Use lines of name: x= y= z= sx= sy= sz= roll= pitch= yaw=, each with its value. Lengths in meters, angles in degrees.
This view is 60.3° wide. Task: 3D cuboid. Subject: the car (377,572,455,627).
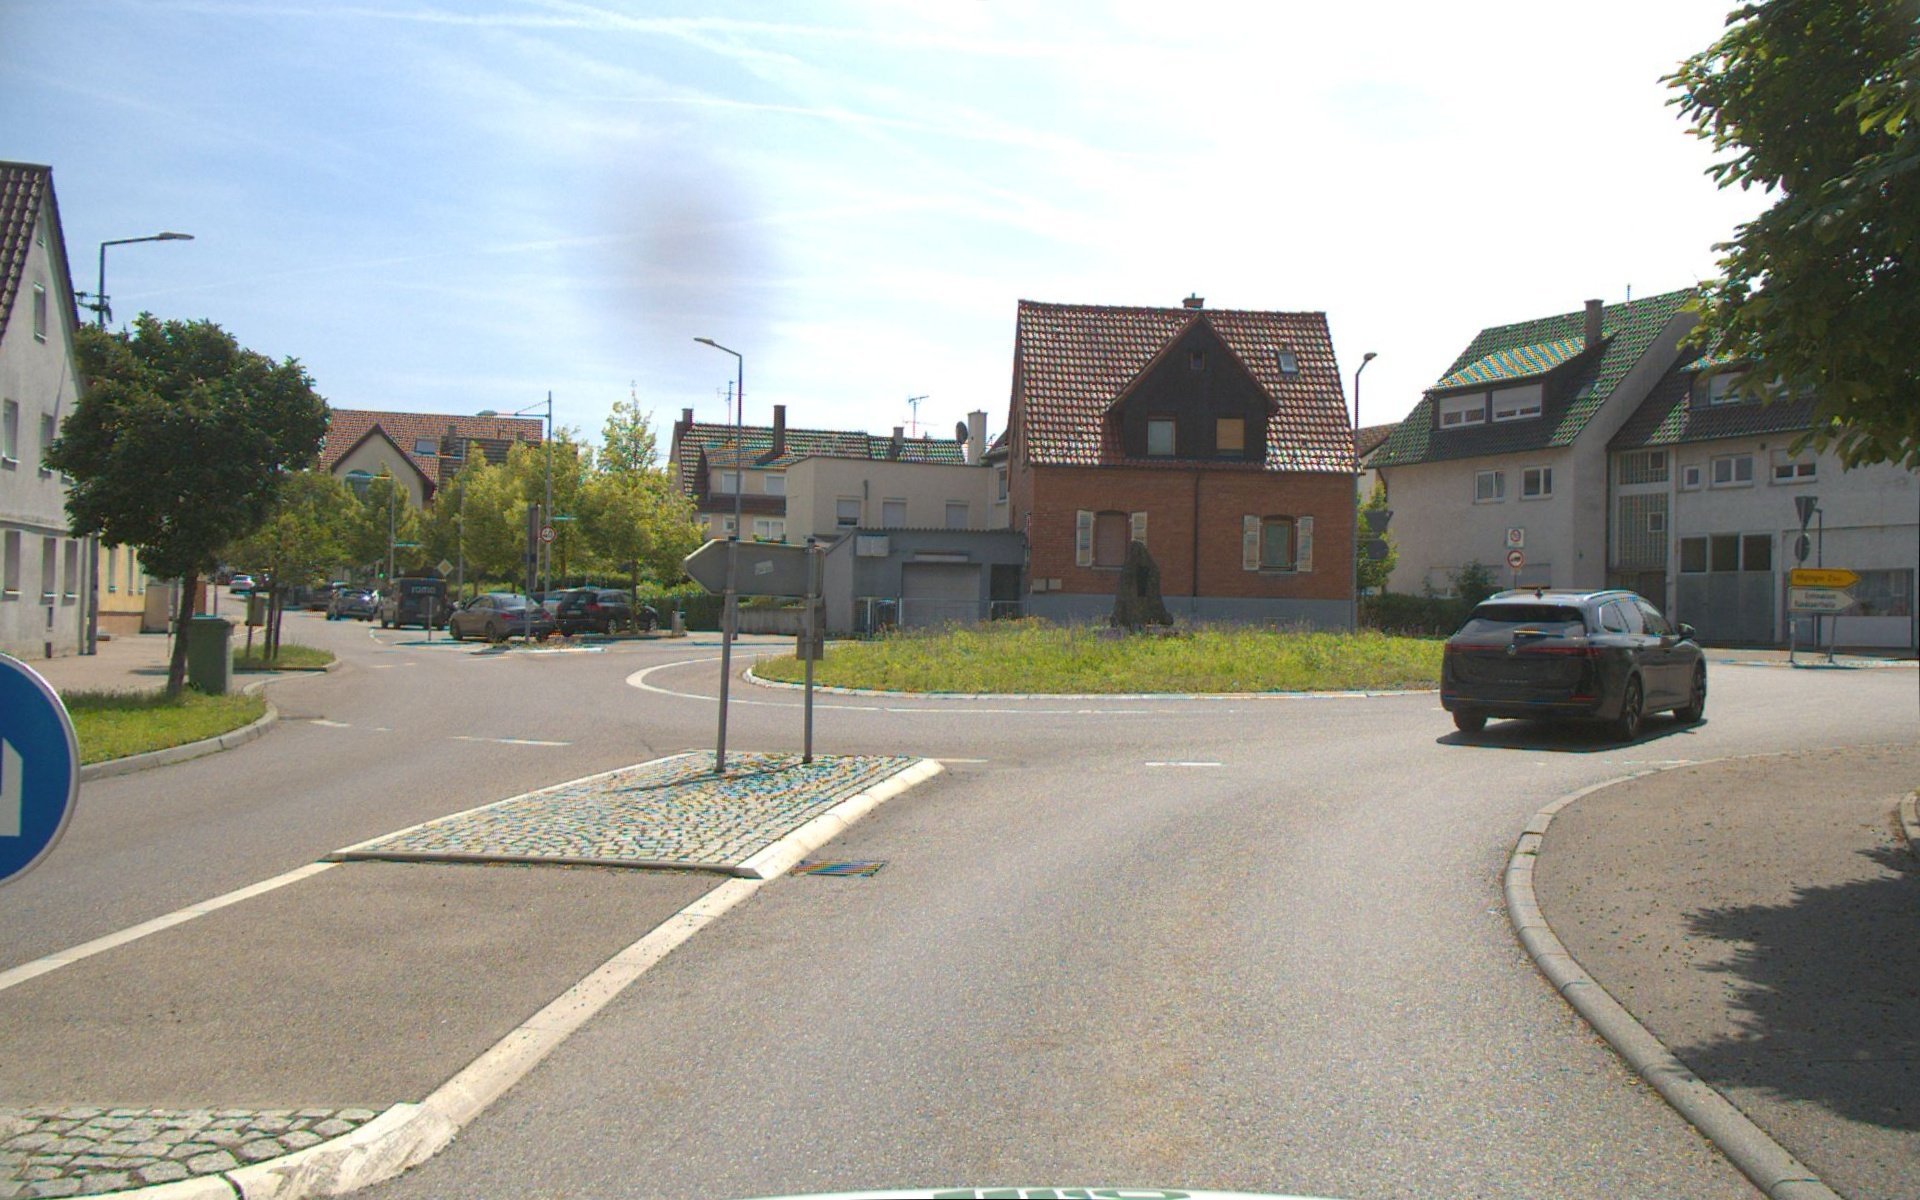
car: x=-21.074 y=-0.016 z=63.988 sx=2.089 sy=2.049 sz=3.959 roll=1 pitch=0 yaw=-30

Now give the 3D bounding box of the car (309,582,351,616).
car: x=-39.064 y=-0.083 z=102.530 sx=2.085 sy=2.049 sz=3.966 roll=1 pitch=0 yaw=-26

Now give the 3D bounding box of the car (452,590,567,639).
car: x=-13.580 y=0.421 z=49.713 sx=1.859 sy=1.415 sz=4.157 roll=1 pitch=0 yaw=-38

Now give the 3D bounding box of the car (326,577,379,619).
car: x=-30.377 y=-0.092 z=82.688 sx=2.085 sy=2.049 sz=3.966 roll=1 pitch=0 yaw=-26

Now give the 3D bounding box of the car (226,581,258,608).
car: x=-56.366 y=-0.440 z=129.802 sx=2.085 sy=2.049 sz=3.966 roll=1 pitch=0 yaw=-26

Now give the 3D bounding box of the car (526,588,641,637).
car: x=-13.117 y=0.438 z=57.880 sx=1.776 sy=1.646 sz=3.995 roll=1 pitch=0 yaw=27

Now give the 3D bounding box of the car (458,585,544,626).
car: x=-19.916 y=0.250 z=71.926 sx=1.827 sy=1.698 sz=4.003 roll=1 pitch=0 yaw=15

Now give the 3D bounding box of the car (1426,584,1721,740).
car: x=6.722 y=0.570 z=17.806 sx=1.810 sy=1.445 sz=4.664 roll=0 pitch=0 yaw=36

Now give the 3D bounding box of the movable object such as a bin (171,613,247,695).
movable object such as a bin: x=-10.076 y=0.719 z=22.206 sx=0.887 sy=1.067 sz=0.575 roll=0 pitch=0 yaw=-22

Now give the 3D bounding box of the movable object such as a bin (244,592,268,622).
movable object such as a bin: x=-24.802 y=0.246 z=58.270 sx=0.690 sy=1.070 sz=0.668 roll=0 pitch=0 yaw=-31

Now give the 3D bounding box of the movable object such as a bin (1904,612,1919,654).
movable object such as a bin: x=24.841 y=0.834 z=42.478 sx=0.806 sy=1.063 sz=0.812 roll=0 pitch=0 yaw=7
